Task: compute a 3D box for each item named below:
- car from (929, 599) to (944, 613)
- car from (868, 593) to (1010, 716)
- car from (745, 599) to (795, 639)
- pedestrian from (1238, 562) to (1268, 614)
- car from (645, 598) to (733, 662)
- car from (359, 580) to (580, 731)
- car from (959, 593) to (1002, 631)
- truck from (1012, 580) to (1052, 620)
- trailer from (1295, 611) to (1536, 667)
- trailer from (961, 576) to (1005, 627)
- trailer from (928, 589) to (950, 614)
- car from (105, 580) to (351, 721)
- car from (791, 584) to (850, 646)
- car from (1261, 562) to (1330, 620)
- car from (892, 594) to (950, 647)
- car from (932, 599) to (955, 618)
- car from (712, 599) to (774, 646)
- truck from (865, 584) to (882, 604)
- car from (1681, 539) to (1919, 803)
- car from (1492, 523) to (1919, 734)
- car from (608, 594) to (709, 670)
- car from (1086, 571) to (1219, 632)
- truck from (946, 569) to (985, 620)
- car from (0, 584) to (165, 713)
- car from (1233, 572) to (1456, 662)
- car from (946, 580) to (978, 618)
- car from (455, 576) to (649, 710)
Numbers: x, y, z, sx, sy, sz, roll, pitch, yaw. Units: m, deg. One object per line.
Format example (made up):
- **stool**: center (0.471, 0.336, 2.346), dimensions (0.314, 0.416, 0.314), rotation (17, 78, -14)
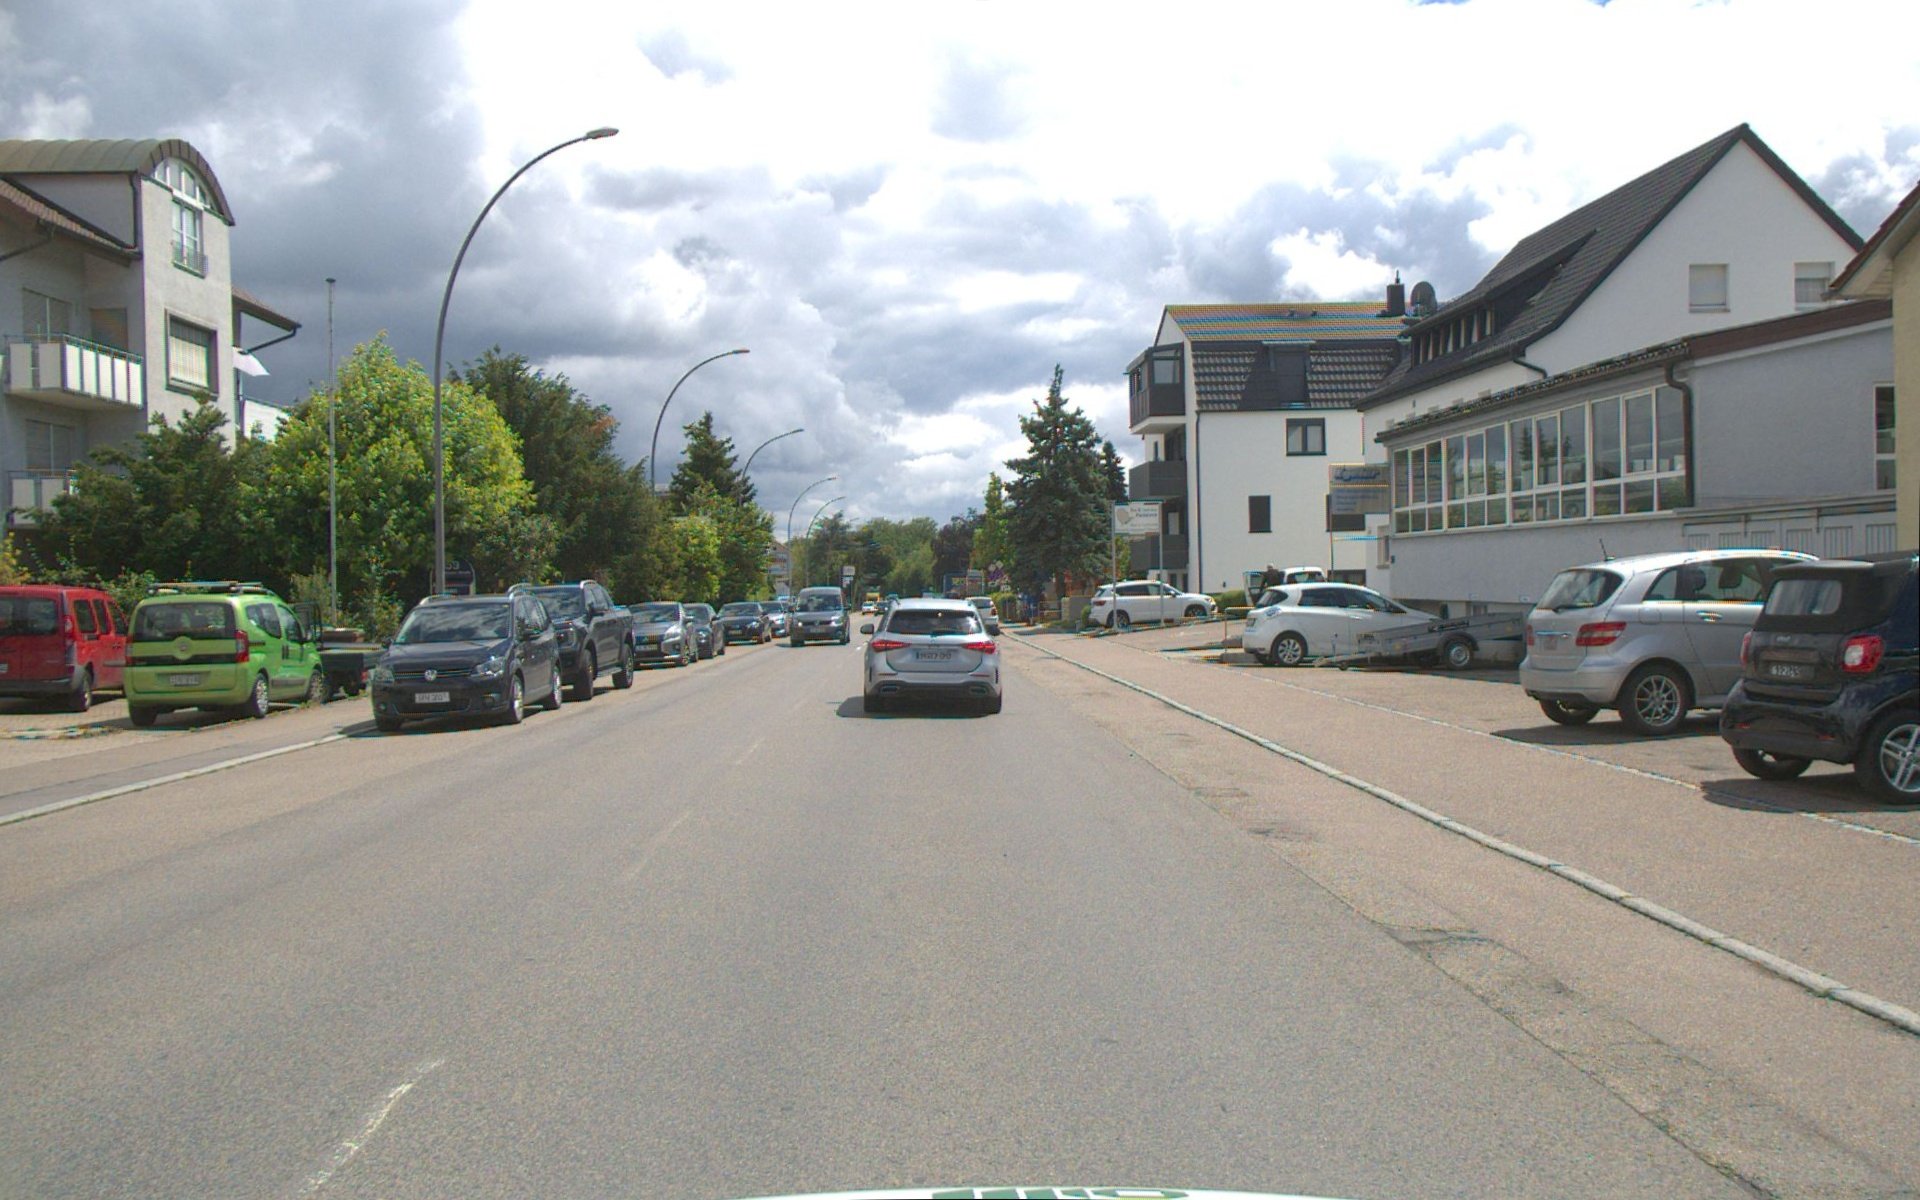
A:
- **car**: center (-3.577, 0.848, 251.337), dimensions (2.101, 2.018, 5.260), rotation (-2, 0, -1)
- **car**: center (-0.380, 0.659, 22.476), dimensions (1.749, 1.510, 4.314), rotation (0, 0, -3)
- **car**: center (-7.589, 0.720, 66.248), dimensions (1.685, 1.457, 4.197), rotation (-3, 0, -3)
- **pedestrian**: center (9.055, -0.368, 51.101), dimensions (0.748, 1.554, 0.781), rotation (-4, 0, 3)
- **car**: center (-7.057, 0.742, 43.404), dimensions (1.629, 1.460, 4.337), rotation (-3, 0, -2)
- **car**: center (-6.322, 0.641, 21.826), dimensions (1.629, 1.709, 4.525), rotation (-3, 0, -2)
- **car**: center (0.864, 0.479, 68.868), dimensions (1.684, 1.457, 3.984), rotation (-3, 0, 1)
- **truck**: center (4.251, -0.018, 98.218), dimensions (1.793, 2.117, 5.383), rotation (-4, 2, -2)
- **trailer**: center (7.918, 0.666, 28.933), dimensions (3.740, 0.822, 1.656), rotation (-2, 0, -3)
- **trailer**: center (0.994, 0.051, 74.457), dimensions (1.737, 2.182, 4.112), rotation (-2, 0, -2)
- **trailer**: center (-2.014, 0.159, 156.936), dimensions (1.903, 2.334, 4.443), rotation (-2, 0, -3)
- **car**: center (-10.298, 0.646, 23.643), dimensions (1.756, 1.816, 4.336), rotation (0, 0, -3)
- **car**: center (-4.400, 0.438, 52.575), dimensions (1.629, 1.827, 4.336), rotation (-2, 0, -3)
- **car**: center (10.298, -0.309, 50.960), dimensions (1.597, 1.545, 3.667), rotation (-4, 1, 6)
- **car**: center (-1.249, 0.612, 51.952), dimensions (1.720, 1.585, 3.998), rotation (-1, 0, -2)
- **car**: center (-1.465, 0.759, 145.585), dimensions (1.901, 1.599, 4.446), rotation (-2, 0, 1)
- **car**: center (-7.361, 0.750, 56.473), dimensions (1.629, 1.439, 4.337), rotation (-2, 0, -2)
- **truck**: center (-13.037, -0.965, 249.517), dimensions (2.033, 2.863, 7.077), rotation (-2, 0, 0)
- **car**: center (6.780, 0.356, 11.182), dimensions (2.832, 1.551, 1.973), rotation (-4, 0, -5)
- **car**: center (7.581, 0.203, 15.710), dimensions (4.322, 1.636, 1.973), rotation (-4, 0, -5)
- **car**: center (-6.935, 0.703, 38.362), dimensions (1.629, 1.537, 3.943), rotation (-4, 0, -2)
- **car**: center (6.420, 0.052, 55.480), dimensions (4.109, 1.682, 1.866), rotation (-5, 0, -2)
- **truck**: center (0.322, -0.340, 105.287), dimensions (2.273, 3.151, 6.041), rotation (1, 0, -1)
- **car**: center (-13.874, 0.711, 25.644), dimensions (1.761, 1.817, 4.325), rotation (2, -1, -12)
- **car**: center (7.305, 0.308, 31.623), dimensions (3.821, 1.637, 1.748), rotation (1, 0, -3)
- **car**: center (0.087, -0.072, 99.661), dimensions (1.835, 2.207, 4.463), rotation (1, 0, -1)
- **car**: center (-6.583, 0.621, 27.342), dimensions (1.873, 1.852, 5.427), rotation (-5, 0, -2)
